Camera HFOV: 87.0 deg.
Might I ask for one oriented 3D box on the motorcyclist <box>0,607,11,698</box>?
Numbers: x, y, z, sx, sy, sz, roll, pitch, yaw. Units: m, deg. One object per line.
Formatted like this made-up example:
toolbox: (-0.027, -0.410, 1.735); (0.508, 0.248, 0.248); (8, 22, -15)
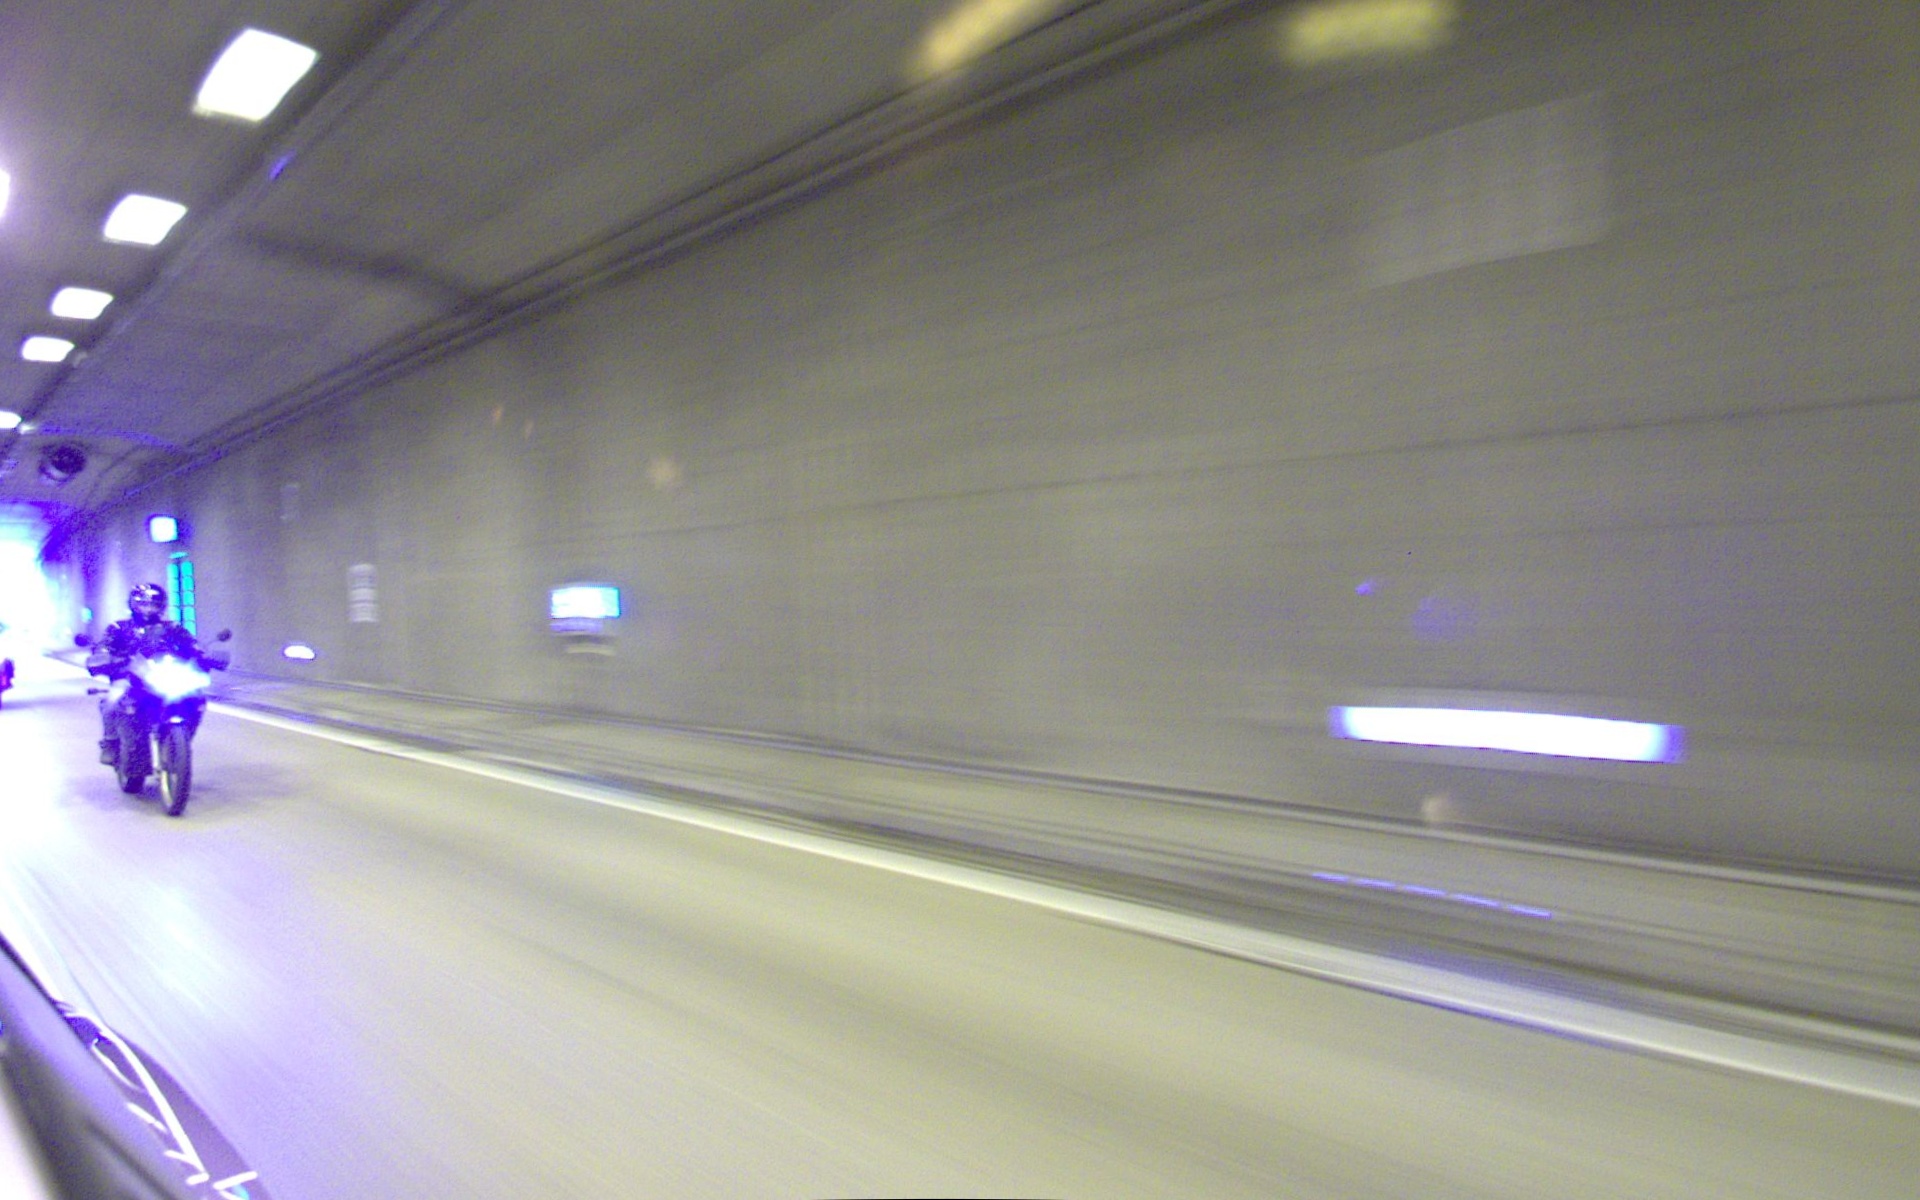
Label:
motorcyclist: (-16.192, 0.870, 16.726); (0.889, 1.500, 0.621); (-1, -1, 39)

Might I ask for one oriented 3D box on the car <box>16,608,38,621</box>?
car: (-134.477, 2.087, 145.897); (1.968, 1.812, 4.008); (-2, 1, -38)

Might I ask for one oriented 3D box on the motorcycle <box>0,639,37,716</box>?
motorcycle: (-16.002, 1.245, 16.511); (2.424, 1.166, 1.043); (-1, -1, 39)

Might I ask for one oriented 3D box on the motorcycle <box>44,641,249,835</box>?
motorcycle: (-6.477, 0.975, 7.986); (2.603, 1.255, 0.837); (-2, -1, 42)

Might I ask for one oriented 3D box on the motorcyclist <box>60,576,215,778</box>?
motorcyclist: (-6.555, 0.576, 8.068); (0.821, 1.488, 0.830); (-2, -1, 41)

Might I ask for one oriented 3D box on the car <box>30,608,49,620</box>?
car: (-145.372, 2.187, 159.852); (1.968, 1.812, 4.008); (-2, 1, -38)

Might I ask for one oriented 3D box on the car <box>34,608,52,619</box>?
car: (-158.208, 2.322, 174.647); (1.968, 1.812, 4.008); (-2, 1, -38)
